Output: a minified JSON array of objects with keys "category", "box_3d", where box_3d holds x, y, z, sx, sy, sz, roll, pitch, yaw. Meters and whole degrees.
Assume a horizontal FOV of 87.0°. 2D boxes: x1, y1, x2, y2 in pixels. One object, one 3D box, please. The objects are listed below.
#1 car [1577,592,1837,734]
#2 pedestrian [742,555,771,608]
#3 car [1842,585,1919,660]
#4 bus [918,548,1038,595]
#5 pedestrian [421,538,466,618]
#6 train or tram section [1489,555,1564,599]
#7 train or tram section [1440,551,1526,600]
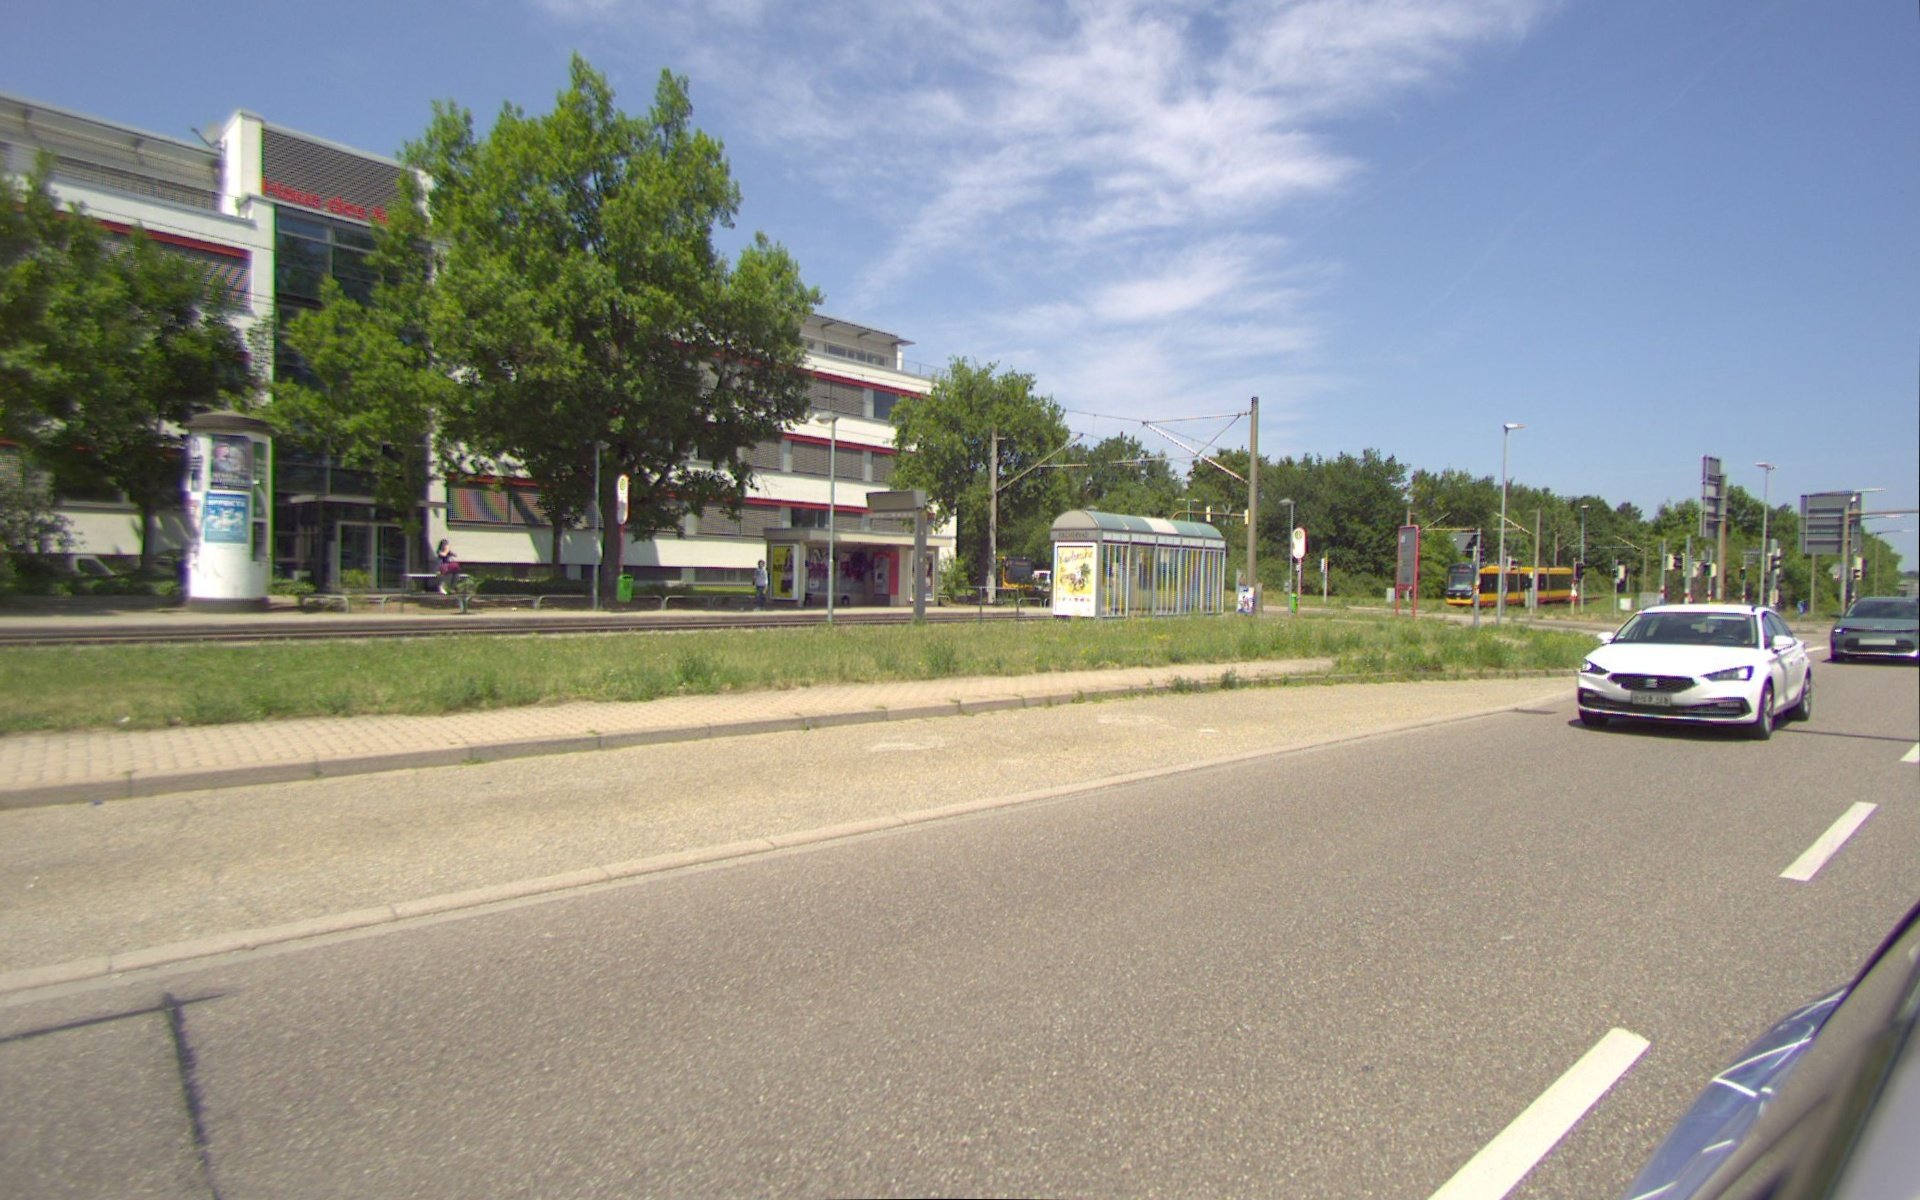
[{"category":"car","box_3d":[9.189,0.621,12.306,4.374,1.407,1.685,0,1,-42]},{"category":"pedestrian","box_3d":[-6.261,-0.574,31.148,0.678,1.628,0.553,-1,0,-41]},{"category":"car","box_3d":[22.326,0.485,23.900,3.930,1.616,1.722,0,2,-41]},{"category":"bus","box_3d":[1.059,-2.089,75.030,2.784,3.158,12.088,-1,2,-32]},{"category":"pedestrian","box_3d":[-12.290,-0.520,24.071,0.691,1.865,0.703,0,0,33]},{"category":"train or tram section","box_3d":[50.331,-1.970,89.712,2.814,3.626,12.305,2,2,43]},{"category":"train or tram section","box_3d":[41.883,-1.902,80.746,2.814,3.626,12.307,2,2,43]}]
